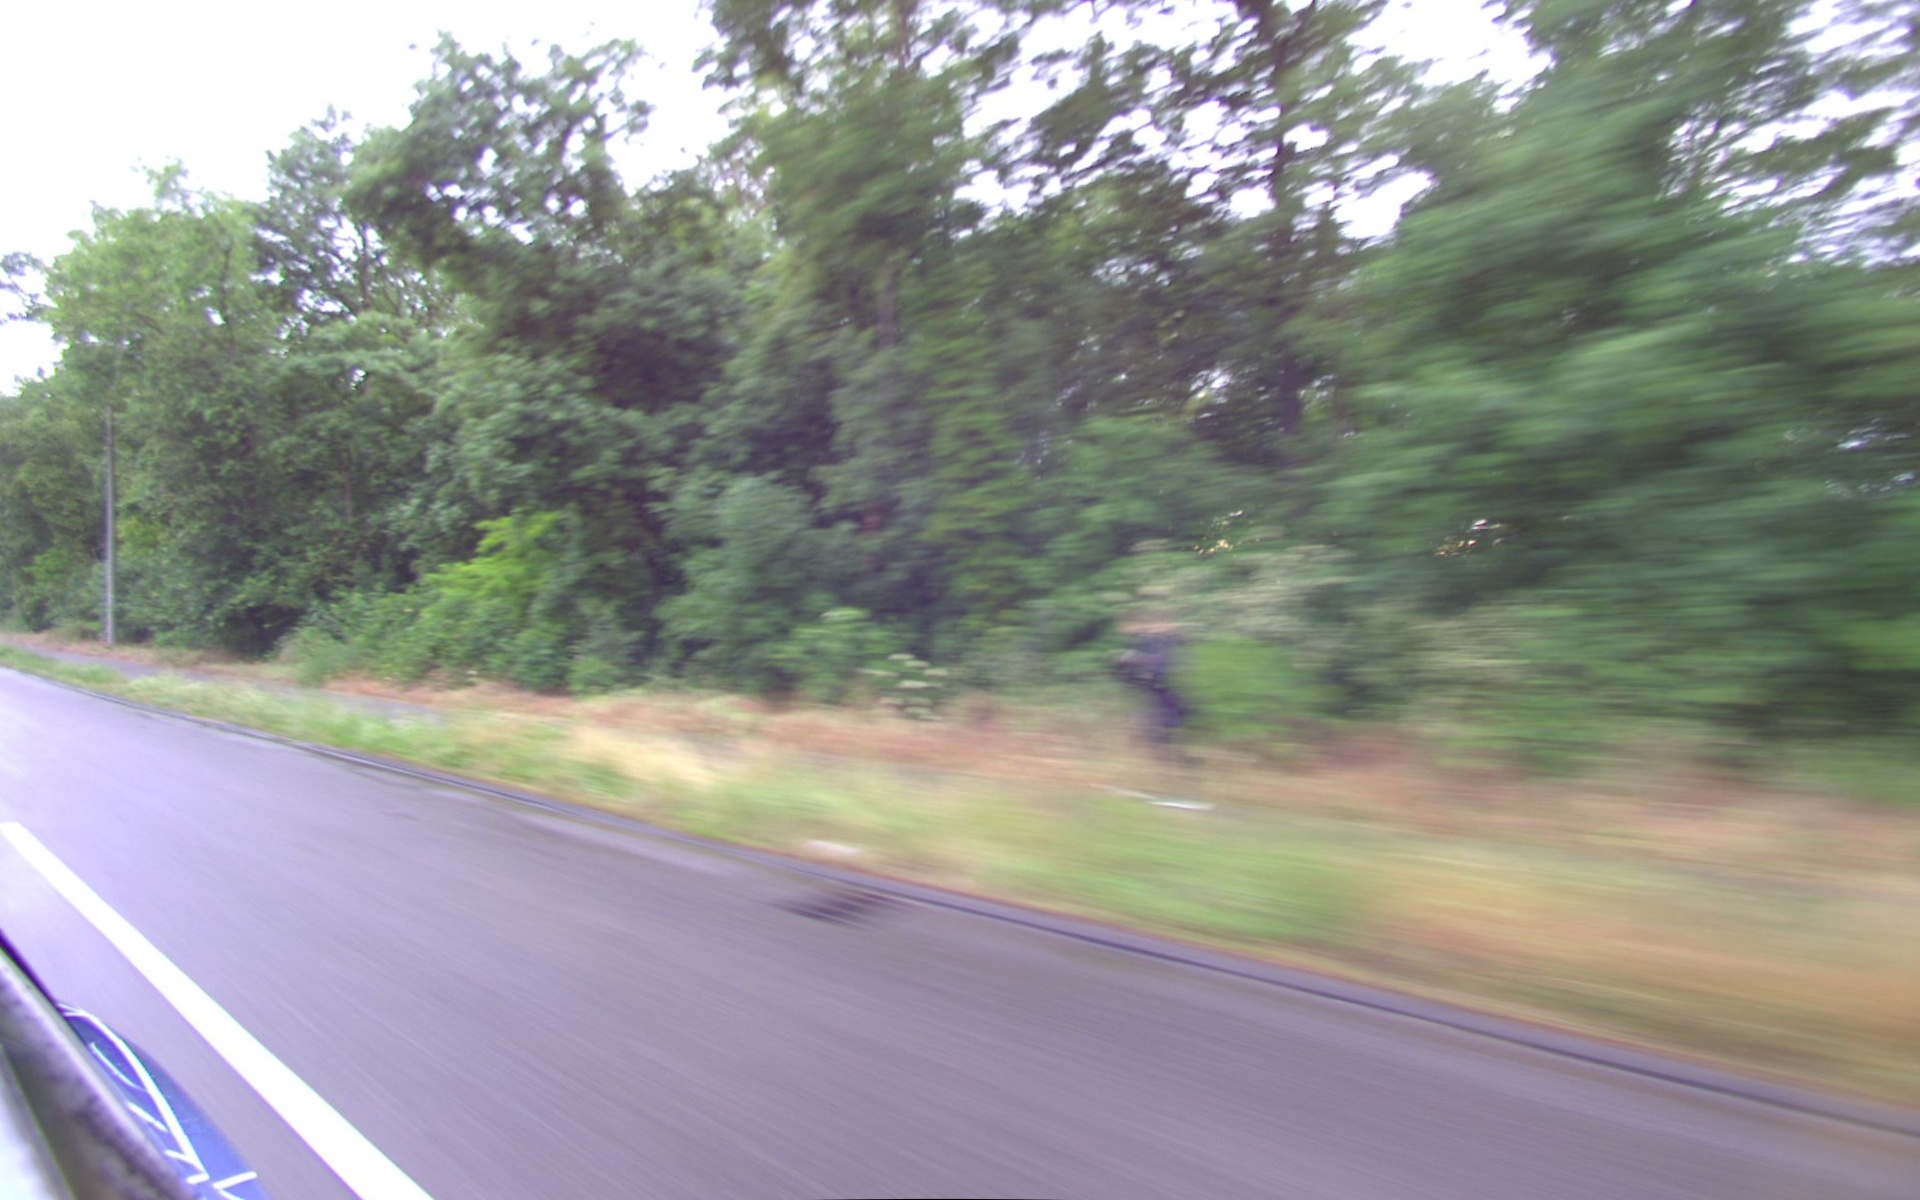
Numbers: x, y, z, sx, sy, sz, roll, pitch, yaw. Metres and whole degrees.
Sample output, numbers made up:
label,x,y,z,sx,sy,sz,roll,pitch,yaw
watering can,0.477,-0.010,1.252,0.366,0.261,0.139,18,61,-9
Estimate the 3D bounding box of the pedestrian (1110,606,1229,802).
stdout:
label,x,y,z,sx,sy,sz,roll,pitch,yaw
pedestrian,1.846,0.869,8.906,0.732,1.620,0.773,-1,-1,40
